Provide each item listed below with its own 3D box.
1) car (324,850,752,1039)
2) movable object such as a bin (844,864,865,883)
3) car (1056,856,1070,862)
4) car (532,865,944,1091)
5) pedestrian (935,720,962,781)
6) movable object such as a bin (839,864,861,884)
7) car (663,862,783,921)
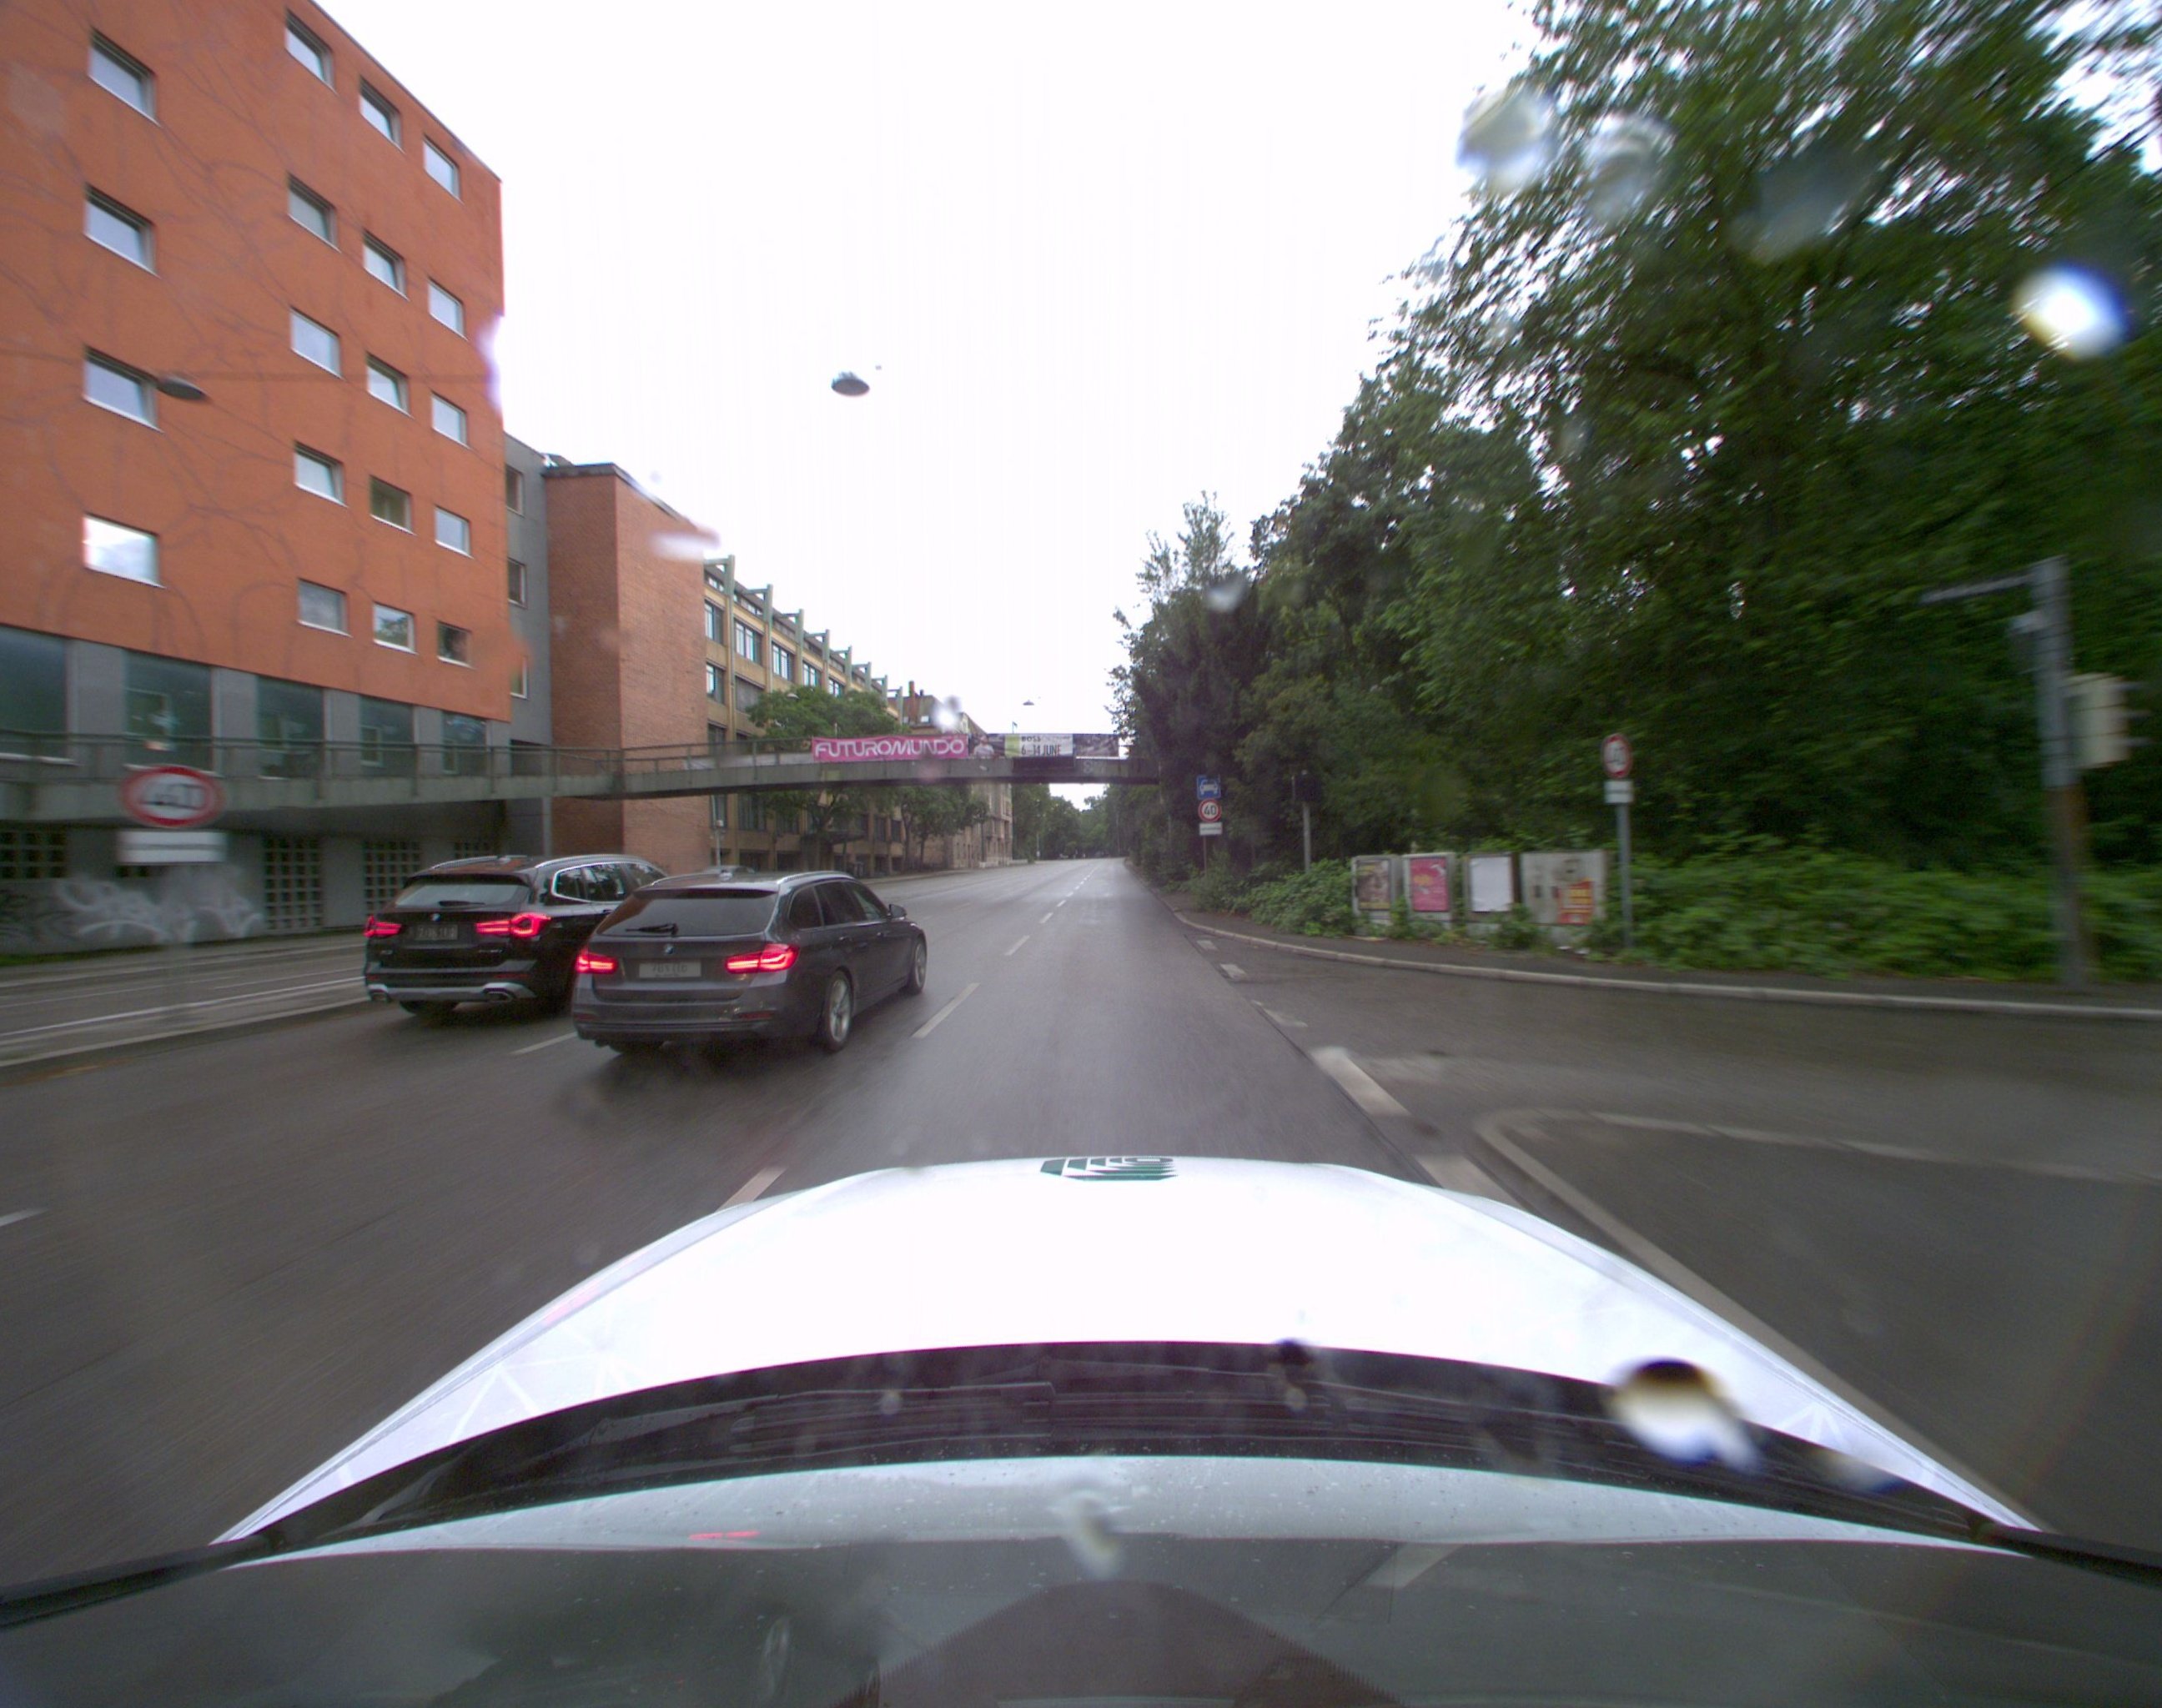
[{"bbox_3d":[-5.789,0.839,9.554,1.801,1.656,4.448,1,-1,3],"label":"car"},{"bbox_3d":[-18.411,1.586,66.201,1.294,1.518,1.215,-1,-1,2],"label":"movable object such as a bin"},{"bbox_3d":[-5.112,1.323,230.561,3.571,1.547,1.615,1,-1,3],"label":"car"},{"bbox_3d":[-2.692,0.866,7.707,1.769,1.458,4.481,-2,-1,3],"label":"car"},{"bbox_3d":[-5.429,-4.223,33.493,0.952,2.345,1.005,1,-1,-4],"label":"pedestrian"},{"bbox_3d":[-18.351,1.589,64.704,1.277,1.518,1.274,-1,-1,2],"label":"movable object such as a bin"},{"bbox_3d":[-10.134,1.016,23.339,1.594,1.499,3.714,-3,-1,3],"label":"car"}]
